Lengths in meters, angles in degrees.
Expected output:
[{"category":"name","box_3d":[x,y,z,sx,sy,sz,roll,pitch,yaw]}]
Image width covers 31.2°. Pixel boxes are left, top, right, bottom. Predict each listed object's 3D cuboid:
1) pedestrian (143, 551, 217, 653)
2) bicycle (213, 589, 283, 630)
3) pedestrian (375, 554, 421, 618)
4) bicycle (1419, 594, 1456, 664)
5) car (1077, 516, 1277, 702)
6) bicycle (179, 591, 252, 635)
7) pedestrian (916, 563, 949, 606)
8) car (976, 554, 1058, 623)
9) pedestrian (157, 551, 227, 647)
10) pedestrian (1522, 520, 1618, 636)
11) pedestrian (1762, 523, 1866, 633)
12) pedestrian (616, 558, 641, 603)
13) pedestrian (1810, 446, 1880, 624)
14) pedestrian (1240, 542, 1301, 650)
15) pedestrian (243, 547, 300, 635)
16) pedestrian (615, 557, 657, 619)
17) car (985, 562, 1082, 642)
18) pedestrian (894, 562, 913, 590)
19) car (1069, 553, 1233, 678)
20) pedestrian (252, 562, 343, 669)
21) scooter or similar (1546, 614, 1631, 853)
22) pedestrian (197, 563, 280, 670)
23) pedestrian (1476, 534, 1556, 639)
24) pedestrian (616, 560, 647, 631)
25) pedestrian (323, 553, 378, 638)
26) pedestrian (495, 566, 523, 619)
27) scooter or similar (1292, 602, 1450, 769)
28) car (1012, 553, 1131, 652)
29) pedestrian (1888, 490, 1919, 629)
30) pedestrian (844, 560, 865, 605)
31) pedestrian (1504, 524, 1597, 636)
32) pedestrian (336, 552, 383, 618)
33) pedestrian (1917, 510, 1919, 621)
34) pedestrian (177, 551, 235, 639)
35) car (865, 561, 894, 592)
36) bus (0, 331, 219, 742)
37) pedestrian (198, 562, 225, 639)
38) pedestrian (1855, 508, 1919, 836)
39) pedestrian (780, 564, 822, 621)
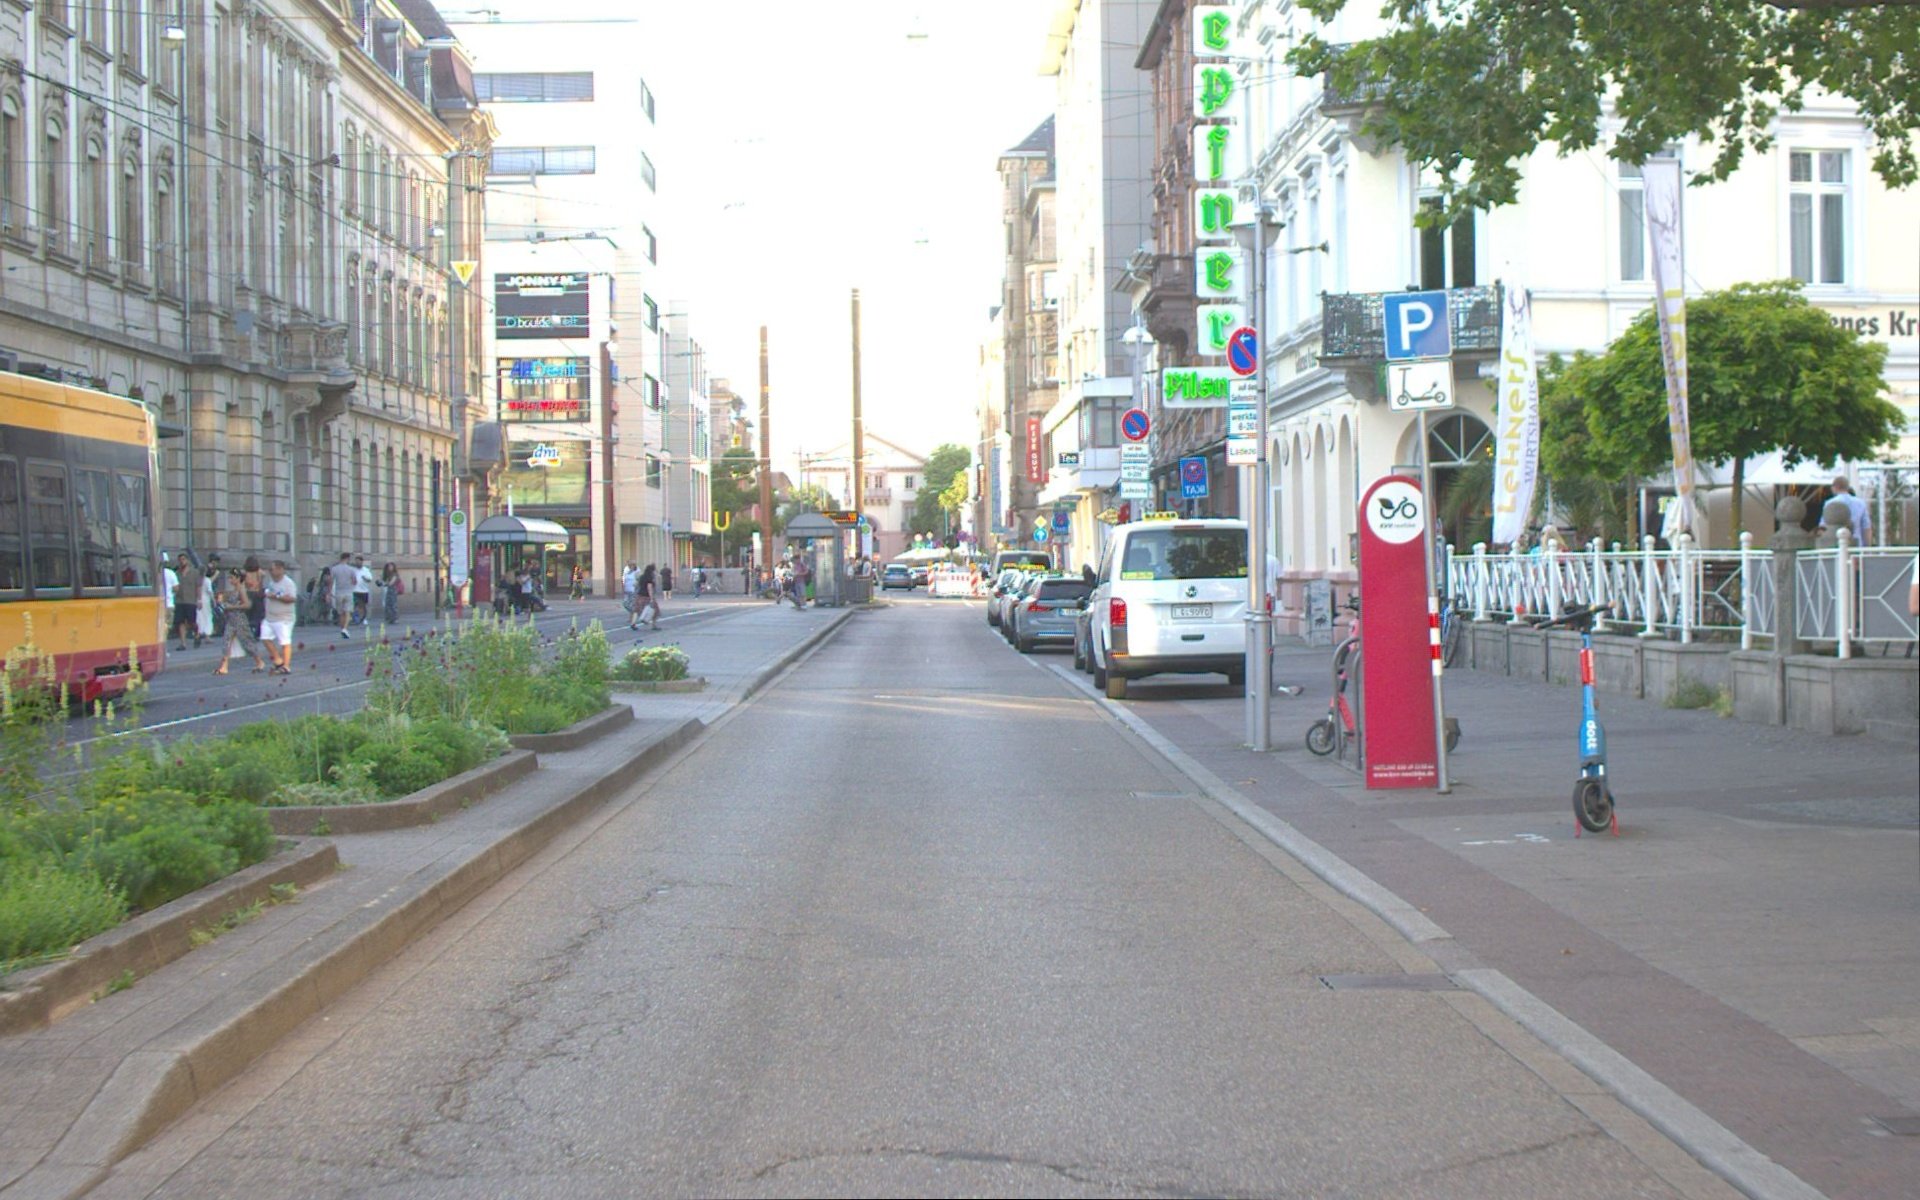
[{"category":"pedestrian","box_3d":[-12.848,0.033,56.637,0.880,1.648,0.875,-1,-1,13]},{"category":"bicycle","box_3d":[-16.583,0.222,80.022,1.582,0.945,0.359,-1,0,-12]},{"category":"pedestrian","box_3d":[-14.787,-0.369,90.448,1.048,1.680,0.908,-1,1,-19]},{"category":"bicycle","box_3d":[6.259,0.392,45.081,0.250,0.899,1.374,-1,-1,-1]},{"category":"car","box_3d":[2.426,0.088,39.435,1.915,1.975,4.421,-1,0,-1]},{"category":"bicycle","box_3d":[-16.629,0.286,76.825,1.582,0.946,0.359,-1,-1,-12]},{"category":"pedestrian","box_3d":[-1.218,-0.688,154.119,1.229,1.922,1.022,-1,0,-16]},{"category":"car","box_3d":[1.477,-0.280,90.229,1.993,1.661,4.421,-1,-1,-1]},{"category":"pedestrian","box_3d":[-13.911,-0.014,62.309,0.873,1.714,0.881,-2,-1,23]},{"category":"pedestrian","box_3d":[7.100,-0.253,40.056,0.902,1.309,0.967,-1,-1,-1]},{"category":"pedestrian","box_3d":[10.090,-0.256,40.647,0.963,1.262,0.905,-1,-1,-1]},{"category":"pedestrian","box_3d":[-14.239,-0.859,147.604,0.905,1.922,0.851,0,1,-17]},{"category":"pedestrian","box_3d":[11.576,-0.845,44.957,0.612,2.297,0.581,0,-1,-22]},{"category":"pedestrian","box_3d":[5.081,-0.057,56.239,0.786,1.745,0.895,-1,-1,-7]},{"category":"pedestrian","box_3d":[-13.496,-0.170,67.424,1.048,1.680,0.908,-1,-1,-10]},{"category":"pedestrian","box_3d":[-8.812,-0.339,93.577,1.049,1.680,0.908,0,1,-1]},{"category":"car","box_3d":[1.624,0.072,77.070,1.993,1.661,4.421,-1,-1,-1]},{"category":"pedestrian","box_3d":[-3.572,-1.512,217.381,0.782,1.728,0.811,-2,-2,40]},{"category":"car","box_3d":[2.662,0.214,48.782,1.993,1.661,4.421,-1,0,-1]},{"category":"pedestrian","box_3d":[-9.428,0.224,48.955,0.718,1.509,1.035,-2,-2,43]},{"category":"scooter or similar","box_3d":[3.388,0.701,18.574,0.315,1.217,1.272,-2,0,6]},{"category":"pedestrian","box_3d":[-10.355,0.242,49.332,0.758,1.509,0.861,-2,-2,43]},{"category":"pedestrian","box_3d":[7.045,-0.165,43.606,0.822,1.301,0.870,-1,-1,-1]},{"category":"pedestrian","box_3d":[-7.652,-0.107,79.990,0.689,1.631,0.581,0,1,-8]},{"category":"pedestrian","box_3d":[-12.193,-0.084,68.758,1.048,1.680,0.908,-1,-1,-10]},{"category":"pedestrian","box_3d":[-13.655,-0.229,104.008,0.777,1.575,0.679,-1,0,-12]},{"category":"scooter or similar","box_3d":[3.114,0.647,26.071,1.125,1.212,0.300,-2,0,1]},{"category":"car","box_3d":[2.042,0.042,64.207,1.993,1.755,4.421,-1,0,-1]},{"category":"pedestrian","box_3d":[11.552,-0.480,40.988,0.757,1.638,0.659,-1,-1,-1]},{"category":"pedestrian","box_3d":[-3.624,-0.593,118.400,0.612,1.518,0.621,-1,-1,-9]},{"category":"pedestrian","box_3d":[7.060,-0.235,41.128,0.902,1.301,0.967,-1,-1,-1]},{"category":"pedestrian","box_3d":[-15.456,-0.388,88.452,1.048,1.680,0.908,-1,0,-19]},{"category":"pedestrian","box_3d":[8.681,-0.134,30.204,0.474,1.300,0.539,-1,-1,14]},{"category":"pedestrian","box_3d":[-14.722,-0.098,67.135,1.048,1.680,0.908,-1,-1,-10]},{"category":"car","box_3d":[-5.139,-1.496,218.936,1.760,1.821,3.570,-1,-1,-1]},{"category":"bus","box_3d":[-9.829,-0.517,33.197,2.822,3.600,11.822,-1,0,0]},{"category":"pedestrian","box_3d":[-16.284,0.013,74.791,0.516,1.667,0.482,0,0,-16]},{"category":"pedestrian","box_3d":[5.168,0.379,18.286,0.614,1.711,0.662,-1,-1,2]},{"category":"pedestrian","box_3d":[-4.761,-0.213,102.965,1.049,1.680,0.908,-1,-1,11]}]
